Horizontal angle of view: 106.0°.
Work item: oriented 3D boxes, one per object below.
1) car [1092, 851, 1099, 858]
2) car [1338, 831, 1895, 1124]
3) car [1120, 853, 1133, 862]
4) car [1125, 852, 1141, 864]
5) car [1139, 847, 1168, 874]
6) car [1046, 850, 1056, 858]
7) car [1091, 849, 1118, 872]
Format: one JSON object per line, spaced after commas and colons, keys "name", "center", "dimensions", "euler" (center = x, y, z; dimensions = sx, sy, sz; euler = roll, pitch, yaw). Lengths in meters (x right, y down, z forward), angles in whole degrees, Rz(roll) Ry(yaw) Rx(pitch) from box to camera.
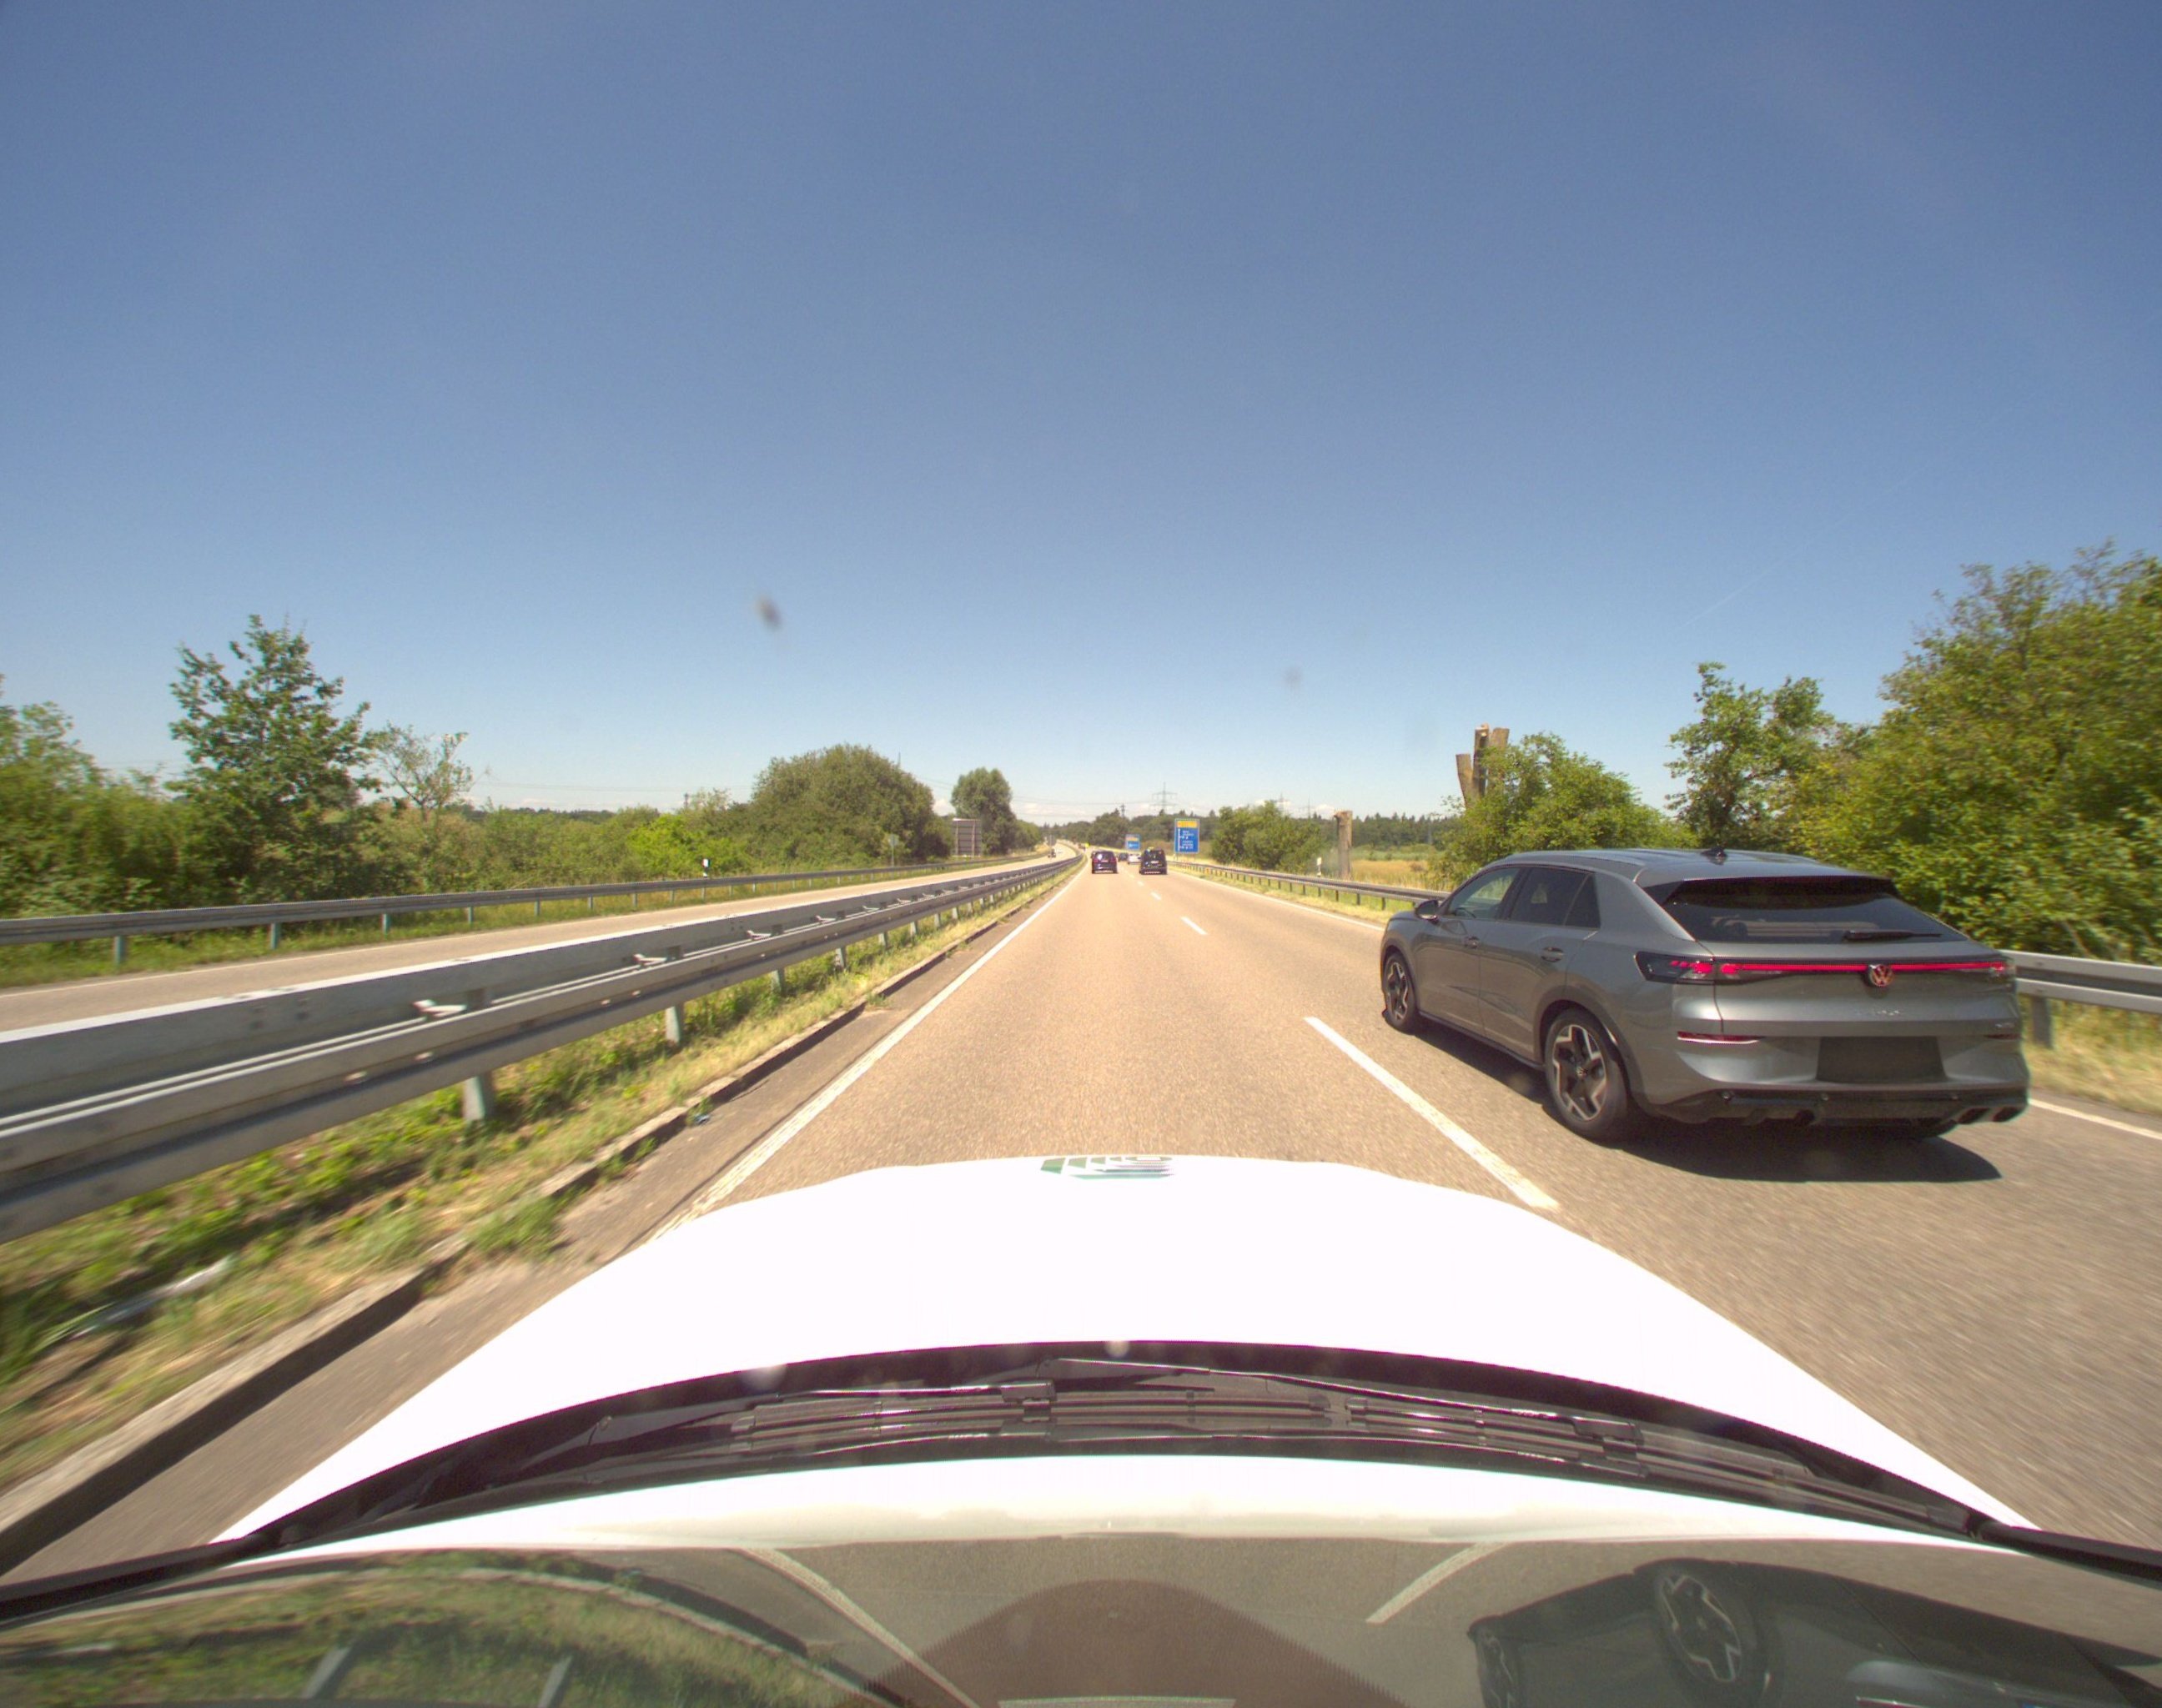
{"name": "car", "center": [3.176, 0.081, 179.052], "dimensions": [1.510, 1.475, 3.066], "euler": [3, 1, 0]}
{"name": "car", "center": [3.525, 0.644, 6.402], "dimensions": [1.779, 1.553, 4.020], "euler": [-1, 1, 1]}
{"name": "car", "center": [6.841, 0.523, 123.229], "dimensions": [1.813, 1.414, 4.001], "euler": [0, 1, 1]}
{"name": "car", "center": [6.503, 0.445, 101.642], "dimensions": [1.773, 1.479, 4.315], "euler": [0, 0, 0]}
{"name": "car", "center": [5.153, 0.452, 58.299], "dimensions": [1.773, 1.817, 4.214], "euler": [-1, 0, 2]}
{"name": "car", "center": [-6.867, -0.010, 186.299], "dimensions": [1.986, 1.637, 4.875], "euler": [3, 1, 1]}
{"name": "car", "center": [1.745, 0.472, 61.585], "dimensions": [1.987, 1.654, 3.999], "euler": [0, 0, 0]}
